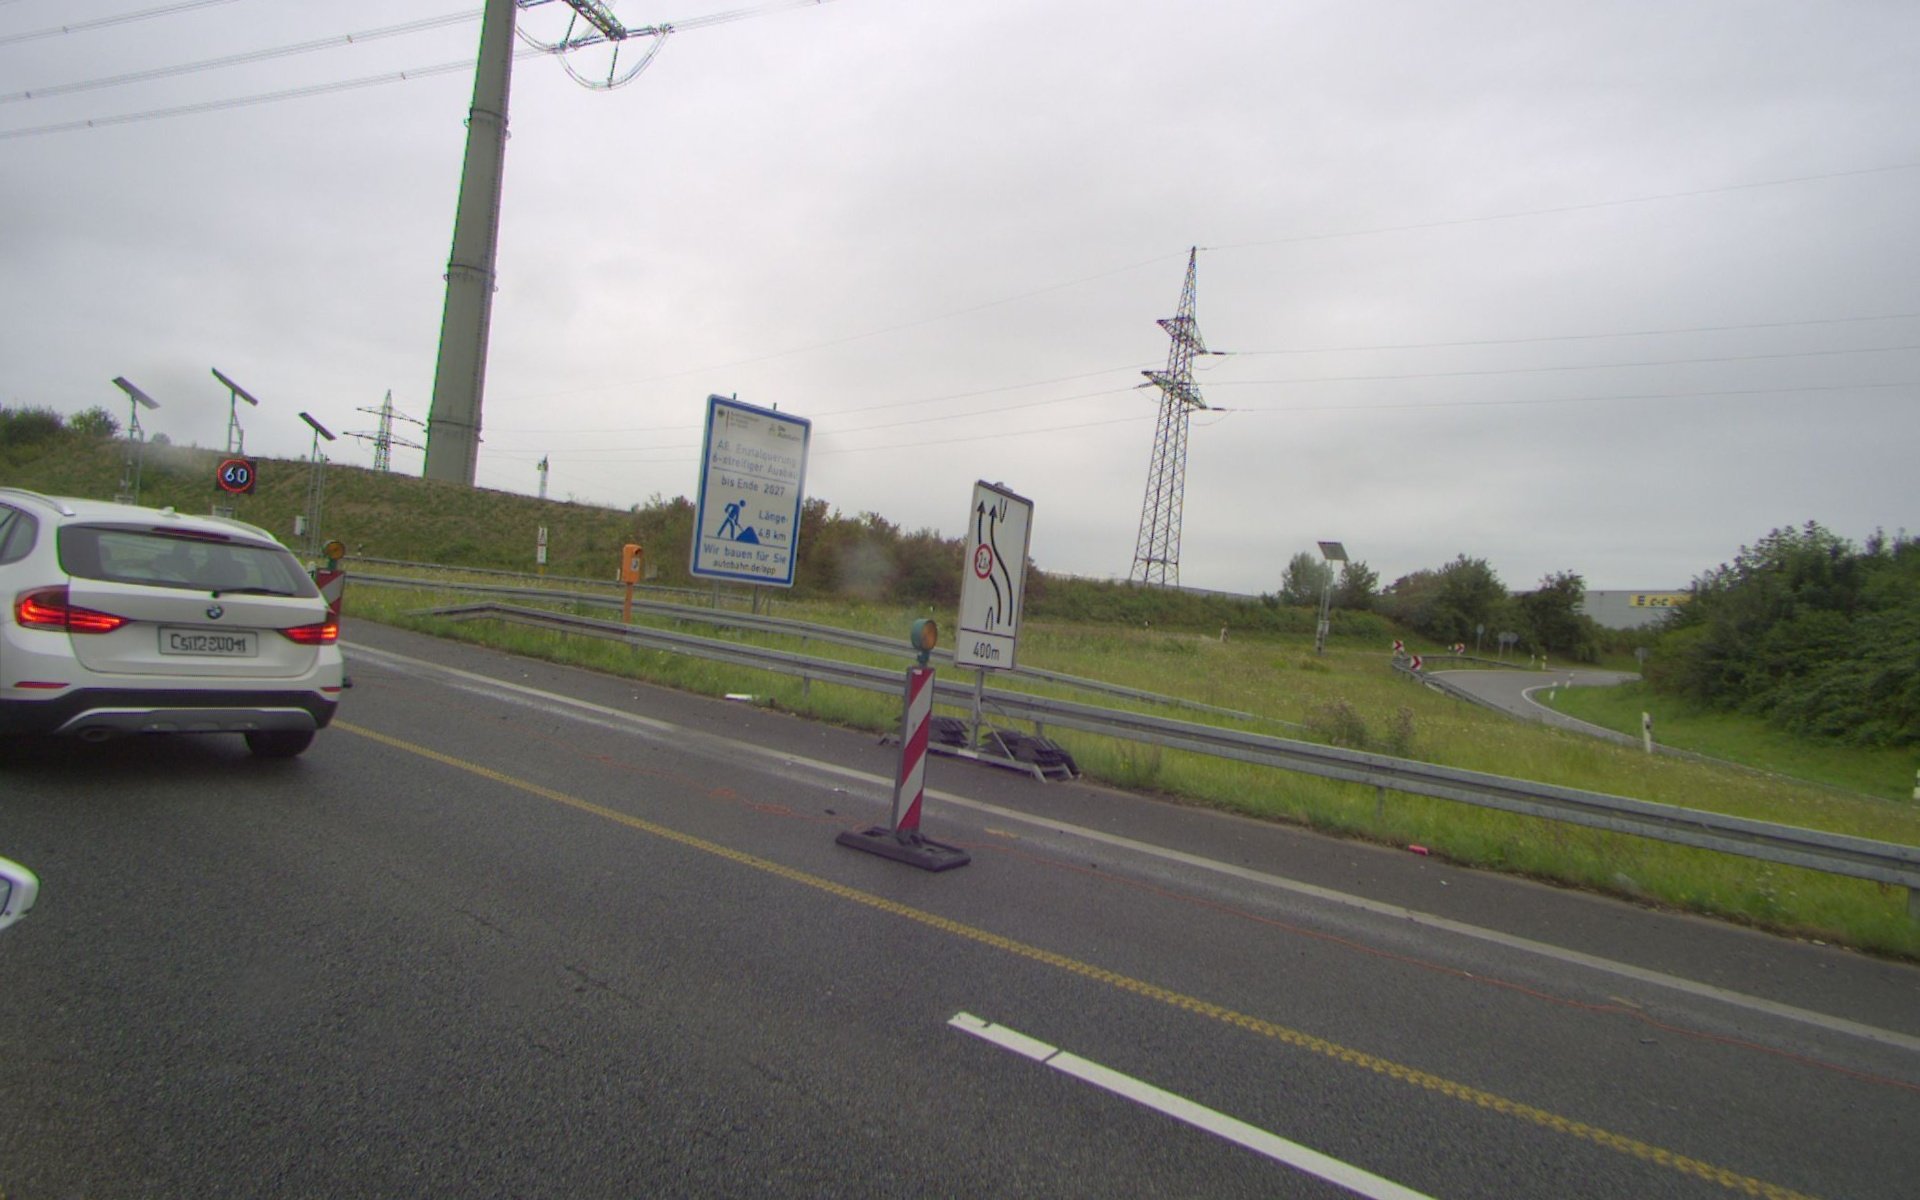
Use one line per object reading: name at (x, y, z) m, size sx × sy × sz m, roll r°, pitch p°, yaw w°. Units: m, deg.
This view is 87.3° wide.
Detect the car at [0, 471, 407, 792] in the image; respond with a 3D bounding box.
car at (-5.845, 0.041, 6.768) m, size 4.128 × 1.553 × 1.872 m, roll 7°, pitch -1°, yaw 33°
